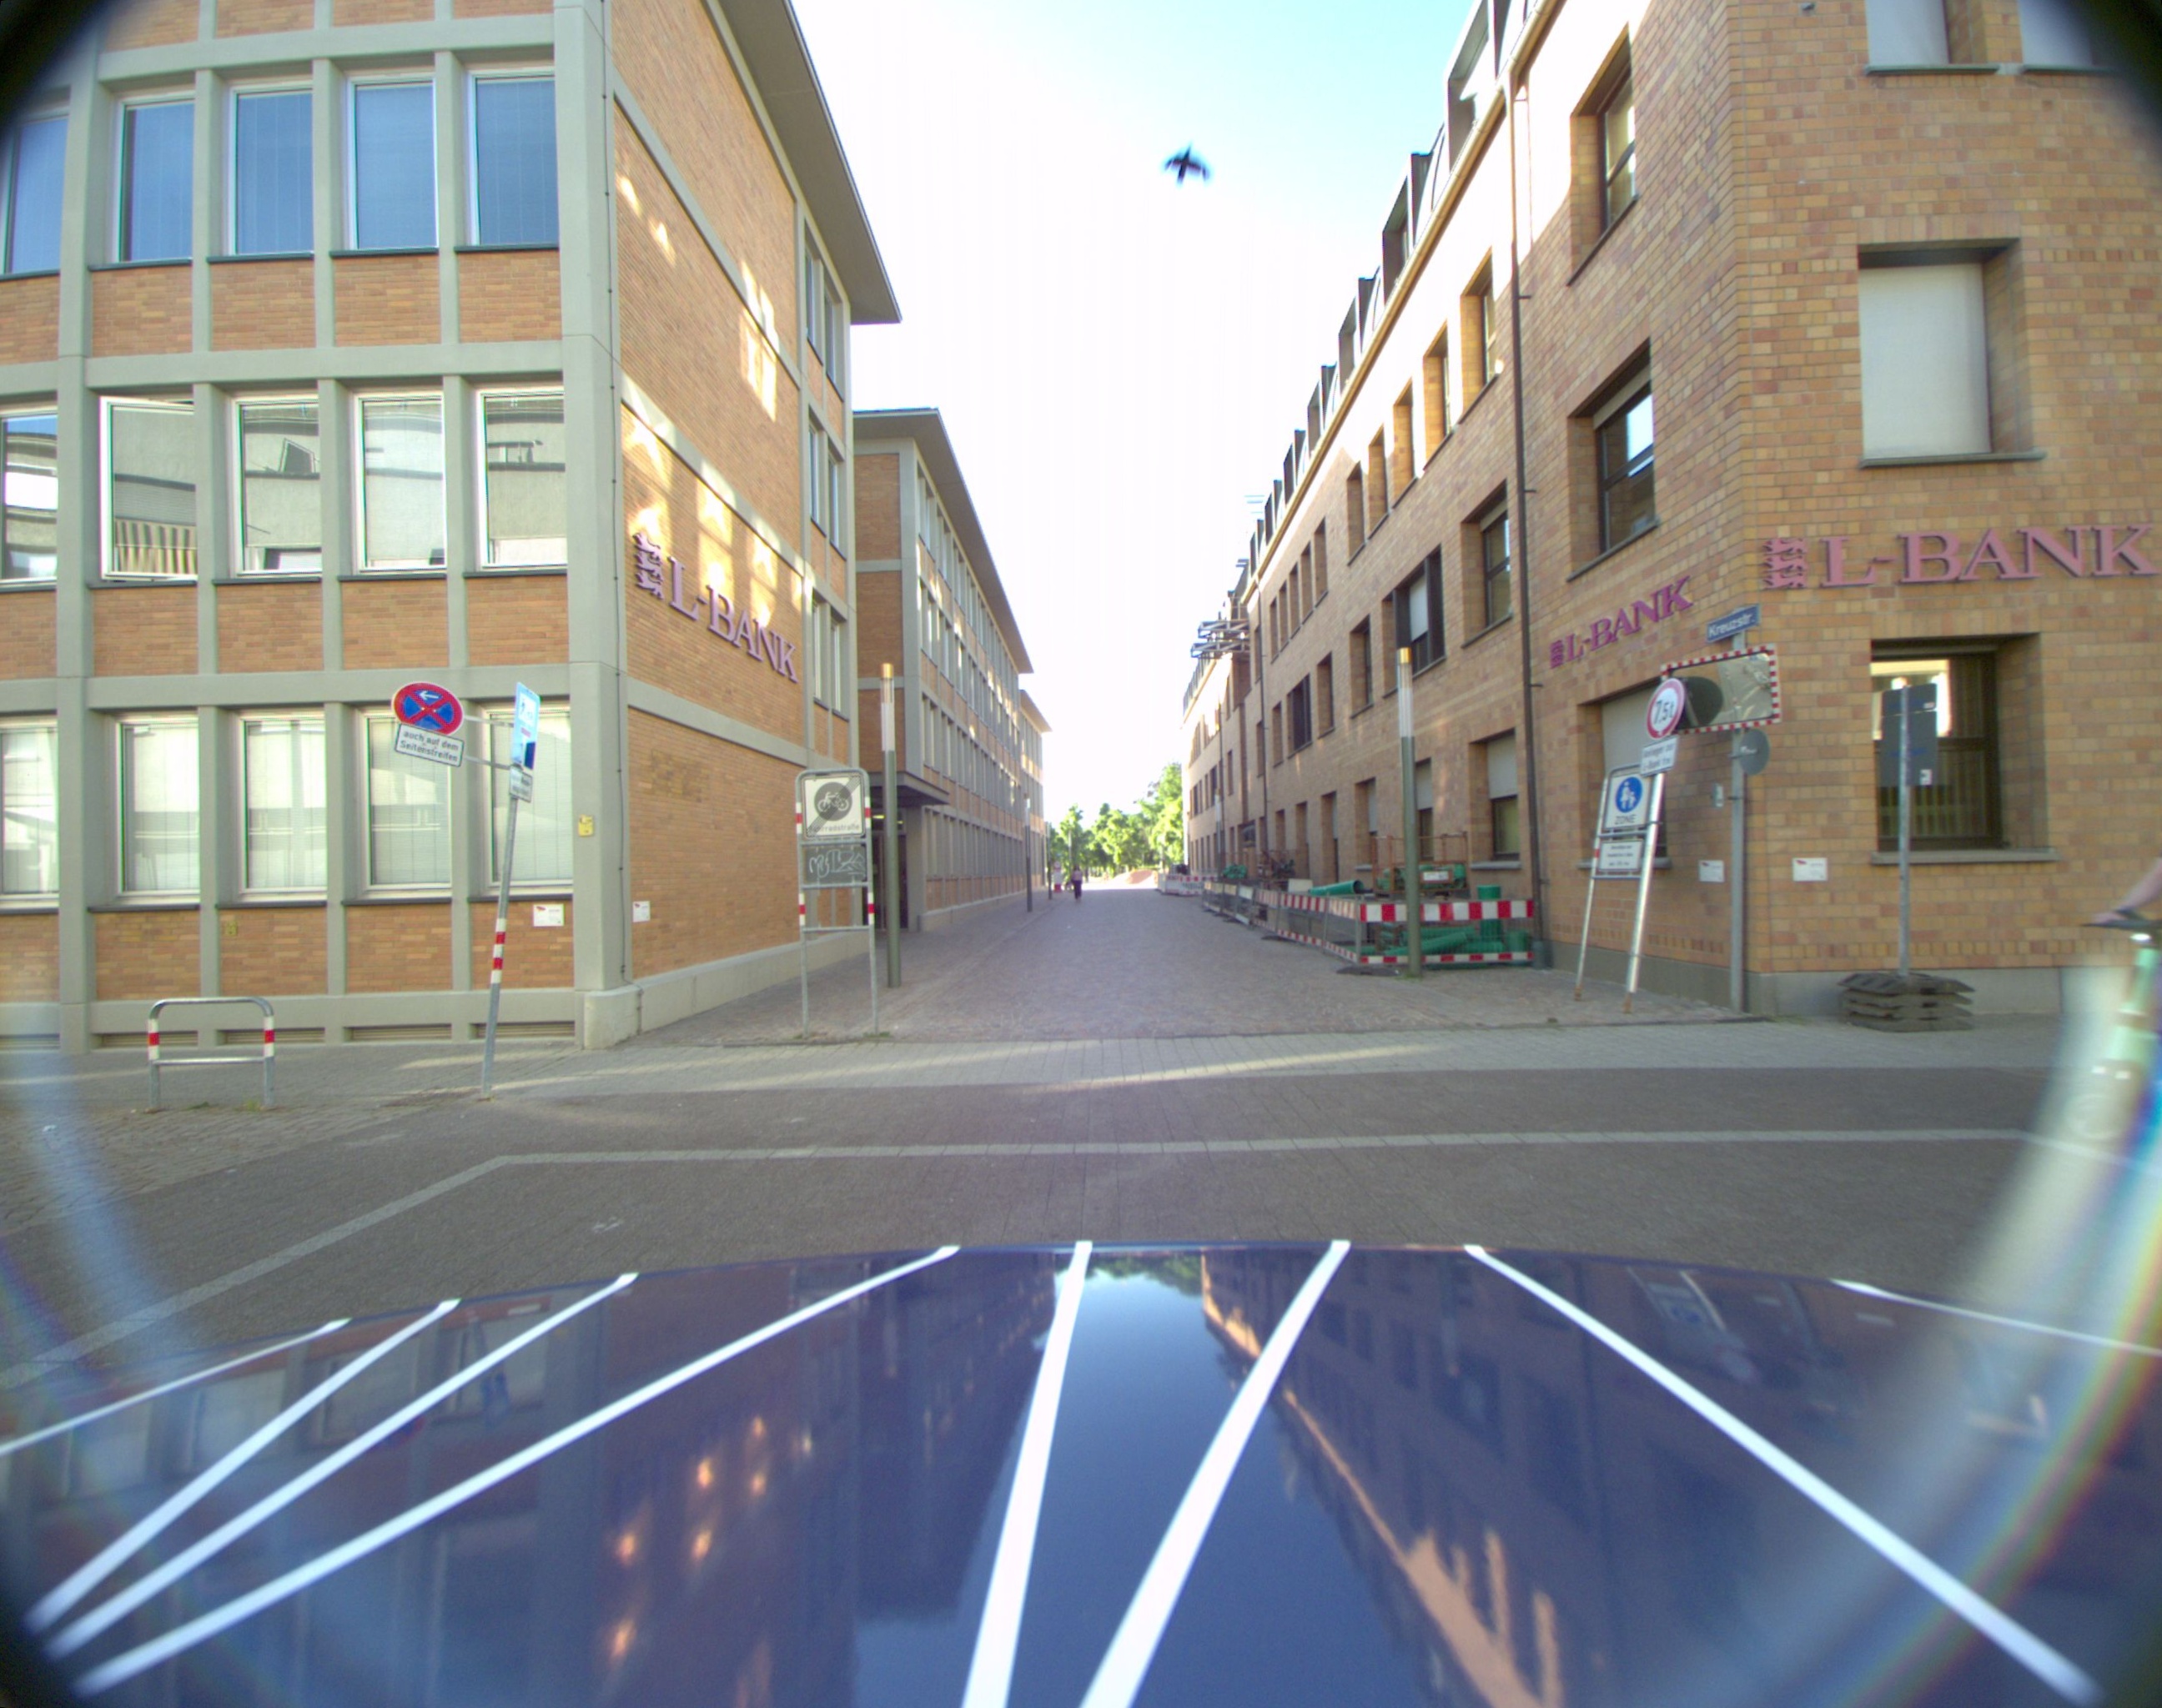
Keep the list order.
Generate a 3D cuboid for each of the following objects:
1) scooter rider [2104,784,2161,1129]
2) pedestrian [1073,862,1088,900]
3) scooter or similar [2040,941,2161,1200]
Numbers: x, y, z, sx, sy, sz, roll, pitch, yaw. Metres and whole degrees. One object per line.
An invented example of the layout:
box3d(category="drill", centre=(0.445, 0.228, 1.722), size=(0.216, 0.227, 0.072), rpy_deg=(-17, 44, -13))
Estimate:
box3d(category="scooter rider", centre=(5.706, 0.508, 3.635), size=(0.701, 1.716, 0.649), rpy_deg=(0, 0, 10))
box3d(category="pedestrian", centre=(-0.036, 1.272, 35.528), size=(0.638, 1.774, 0.652), rpy_deg=(-1, -3, 2))
box3d(category="scooter or similar", centre=(5.556, 1.014, 3.621), size=(1.277, 1.178, 0.337), rpy_deg=(-1, -3, 10))
